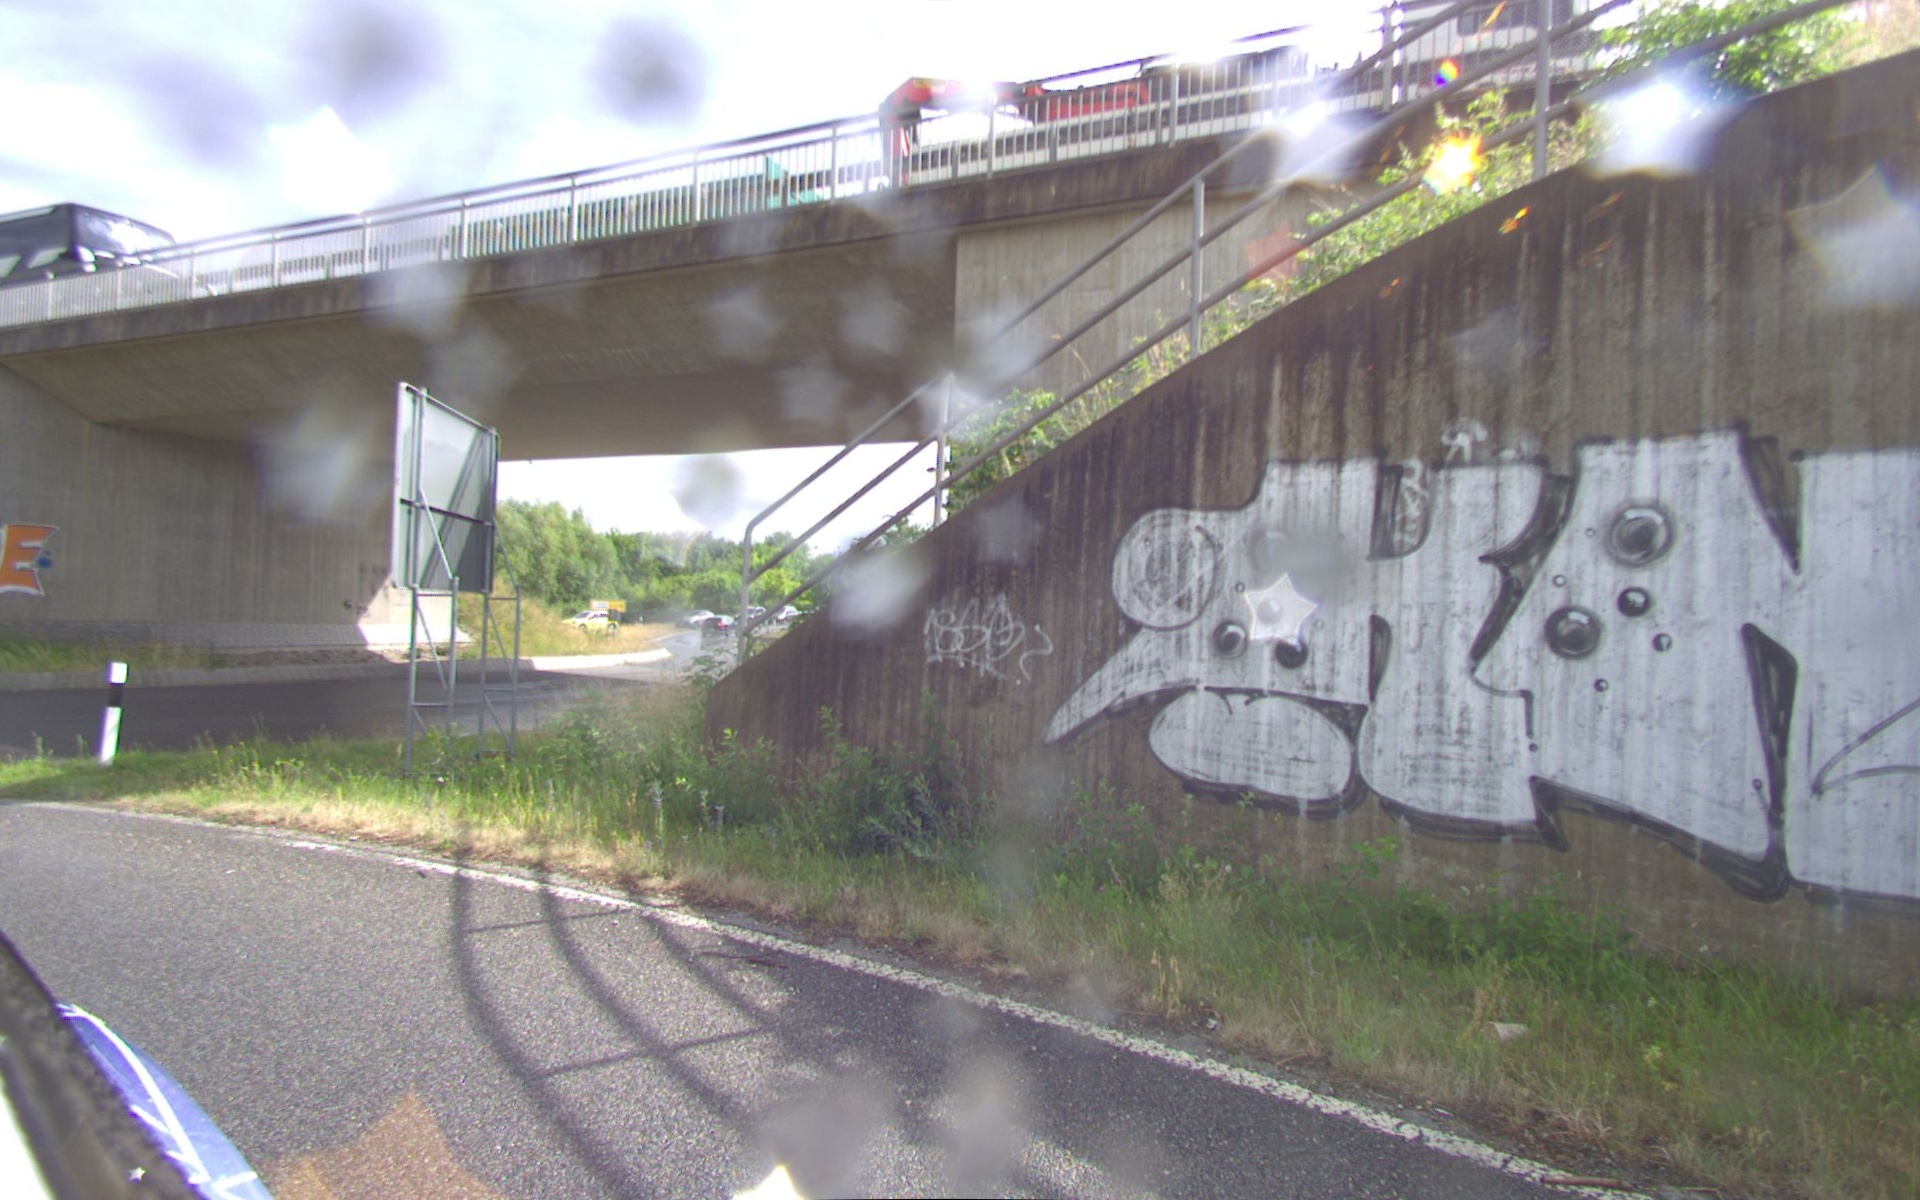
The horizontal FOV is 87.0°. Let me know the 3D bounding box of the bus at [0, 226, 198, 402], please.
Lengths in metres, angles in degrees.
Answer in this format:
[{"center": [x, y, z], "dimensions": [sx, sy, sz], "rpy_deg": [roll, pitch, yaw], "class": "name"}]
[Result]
[{"center": [-25.815, -6.861, 25.806], "dimensions": [14.349, 3.103, 2.597], "rpy_deg": [2, 0, 19], "class": "bus"}]
